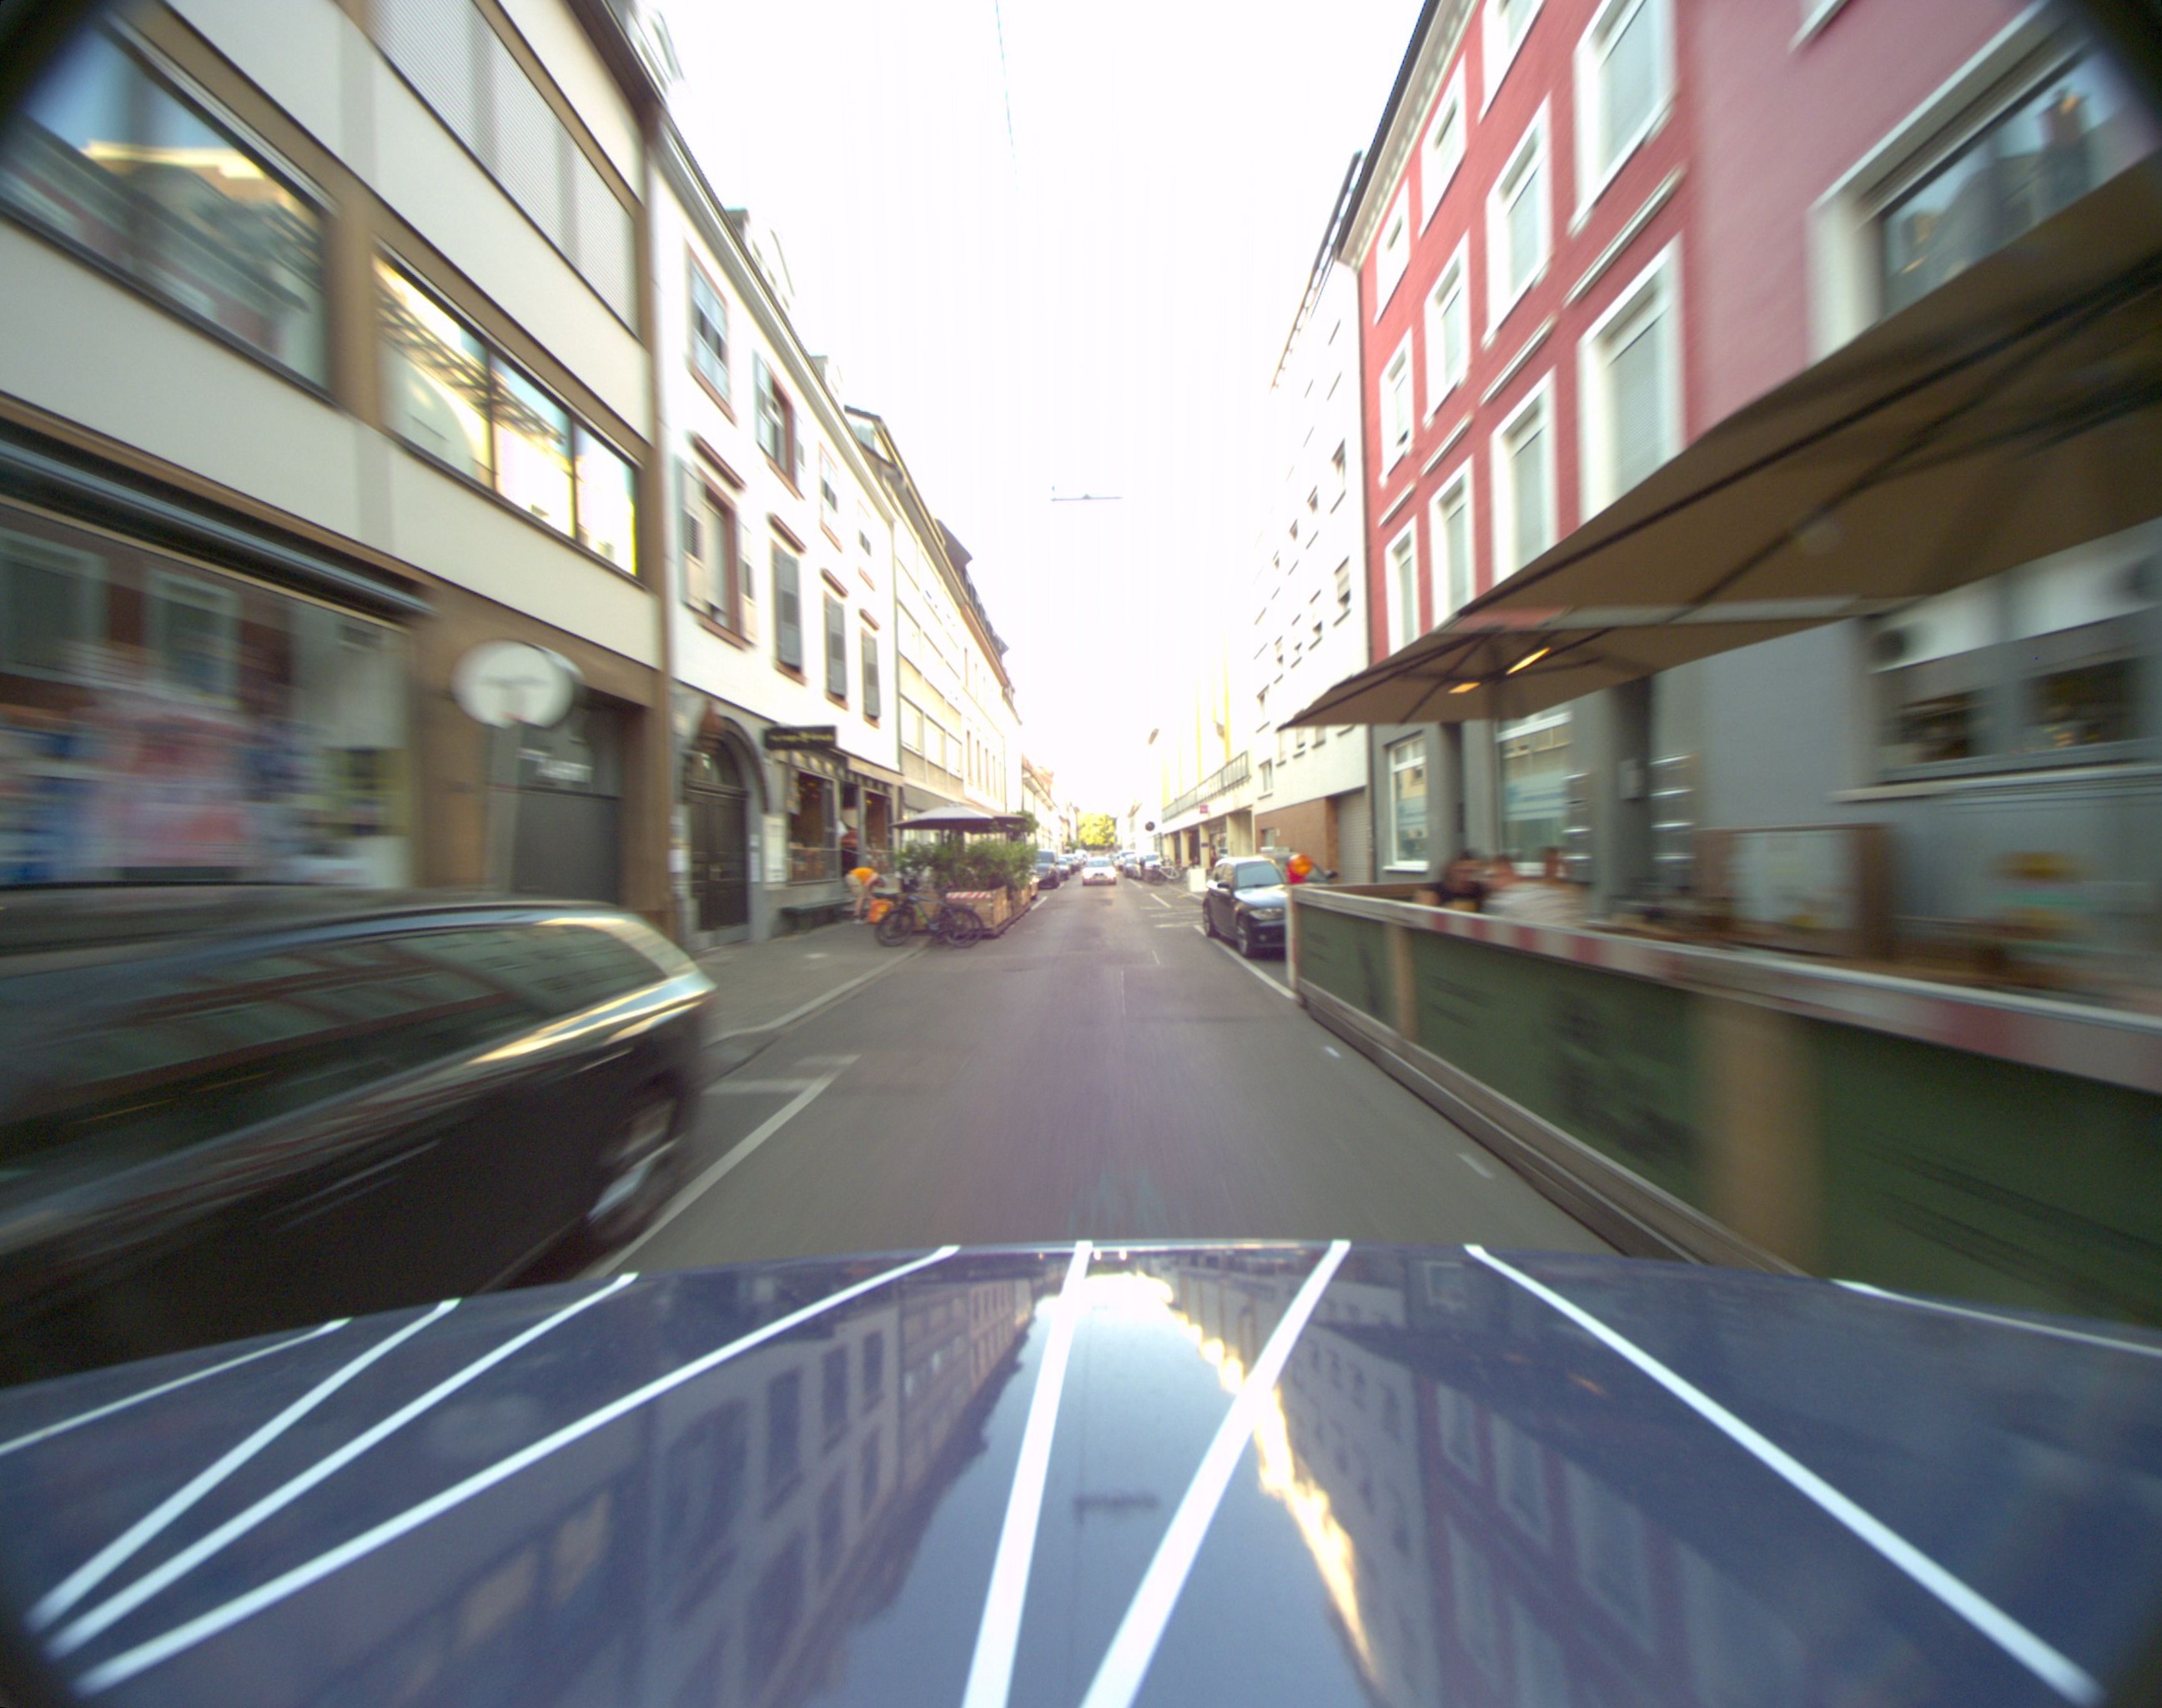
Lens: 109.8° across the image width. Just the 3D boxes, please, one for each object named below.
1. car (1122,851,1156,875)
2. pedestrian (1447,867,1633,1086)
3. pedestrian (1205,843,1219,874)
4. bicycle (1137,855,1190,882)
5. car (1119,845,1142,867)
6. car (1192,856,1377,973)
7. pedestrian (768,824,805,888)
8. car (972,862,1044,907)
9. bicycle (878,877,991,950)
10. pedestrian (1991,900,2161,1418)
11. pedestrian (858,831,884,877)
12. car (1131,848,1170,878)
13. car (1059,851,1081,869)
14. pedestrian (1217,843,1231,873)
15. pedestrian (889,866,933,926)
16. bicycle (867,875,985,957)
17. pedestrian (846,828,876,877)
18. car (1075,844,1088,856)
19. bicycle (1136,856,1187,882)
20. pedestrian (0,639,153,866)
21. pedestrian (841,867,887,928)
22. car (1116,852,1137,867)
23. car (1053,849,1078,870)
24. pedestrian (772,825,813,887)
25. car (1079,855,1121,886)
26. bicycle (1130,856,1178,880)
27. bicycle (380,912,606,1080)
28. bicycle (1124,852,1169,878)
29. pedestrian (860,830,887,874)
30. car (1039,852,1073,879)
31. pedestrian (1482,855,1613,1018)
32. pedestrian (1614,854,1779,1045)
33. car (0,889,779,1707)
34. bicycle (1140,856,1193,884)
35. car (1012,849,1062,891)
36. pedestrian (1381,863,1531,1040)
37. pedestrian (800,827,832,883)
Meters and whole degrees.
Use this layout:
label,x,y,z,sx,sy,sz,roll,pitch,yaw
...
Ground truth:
label,x,y,z,sx,sy,sz,roll,pitch,yaw
car,3.935,0.586,52.429,1.998,1.462,4.458,-2,0,1
pedestrian,2.472,0.626,4.141,0.634,1.061,0.560,-3,1,-7
pedestrian,7.122,0.254,41.239,0.641,1.653,0.718,-2,1,11
bicycle,4.052,0.699,37.272,2.480,1.172,0.784,-2,1,7
car,4.820,0.218,74.529,1.998,2.030,4.458,-2,0,1
car,2.984,0.801,12.049,1.722,1.452,4.134,-2,0,-1
pedestrian,-5.812,0.038,15.016,0.467,1.236,0.609,-1,1,1
car,-2.377,0.967,25.837,1.940,1.288,4.000,-2,0,1
bicycle,-2.625,1.062,13.729,1.873,1.221,0.596,2,1,1
pedestrian,2.572,0.654,1.628,0.612,1.056,0.547,-3,1,-7
pedestrian,-5.722,0.001,20.694,0.568,1.236,0.469,-2,2,-28
car,4.225,0.501,46.809,1.998,1.666,4.458,-2,0,1
car,-1.078,0.571,77.817,1.998,1.666,4.458,-2,0,1
pedestrian,7.839,0.215,41.646,0.641,1.653,0.718,-2,1,11
pedestrian,-3.669,0.892,16.425,0.736,1.236,0.646,-2,1,3
bicycle,-2.639,1.054,13.046,1.873,1.295,0.596,2,1,1
pedestrian,-5.745,-0.044,19.880,0.566,1.236,0.609,-1,1,1
car,0.110,-0.652,128.147,1.998,1.884,4.458,-2,0,1
bicycle,4.041,0.759,38.174,2.480,1.172,0.784,-2,1,7
pedestrian,-6.350,-0.609,4.767,0.437,1.342,0.424,-3,1,-2
pedestrian,-4.569,0.910,16.034,0.736,1.236,0.646,-1,1,1
car,4.721,0.537,79.758,1.998,1.462,4.458,-2,0,1
car,-1.304,0.450,66.839,1.998,1.666,4.458,-2,0,1
pedestrian,-5.967,0.033,15.744,0.566,1.236,0.609,-1,1,1
car,0.957,0.827,39.526,1.998,1.414,4.458,-2,0,1
bicycle,3.876,0.731,40.375,2.480,1.172,0.784,-2,1,7
bicycle,-4.871,1.110,6.461,0.520,1.084,1.752,2,0,1
bicycle,3.743,0.622,43.244,2.480,1.322,0.784,-2,1,7
pedestrian,-5.948,-0.065,21.814,0.566,1.236,0.609,-1,1,1
car,-1.669,0.756,51.541,1.998,1.666,4.458,-2,0,1
pedestrian,3.186,0.538,5.219,0.559,1.031,0.492,-3,1,-7
pedestrian,3.615,0.531,4.492,0.559,1.031,0.492,-3,1,-7
car,-2.609,0.992,1.761,1.694,1.507,4.990,-2,0,1
bicycle,4.084,0.757,36.344,2.480,1.172,0.784,-2,1,7
car,-2.058,0.707,36.593,1.998,1.835,4.000,-2,0,1
pedestrian,2.455,0.607,5.014,0.673,1.056,0.547,-3,1,-7
pedestrian,-5.978,0.013,17.148,0.467,1.236,0.609,-1,1,1
